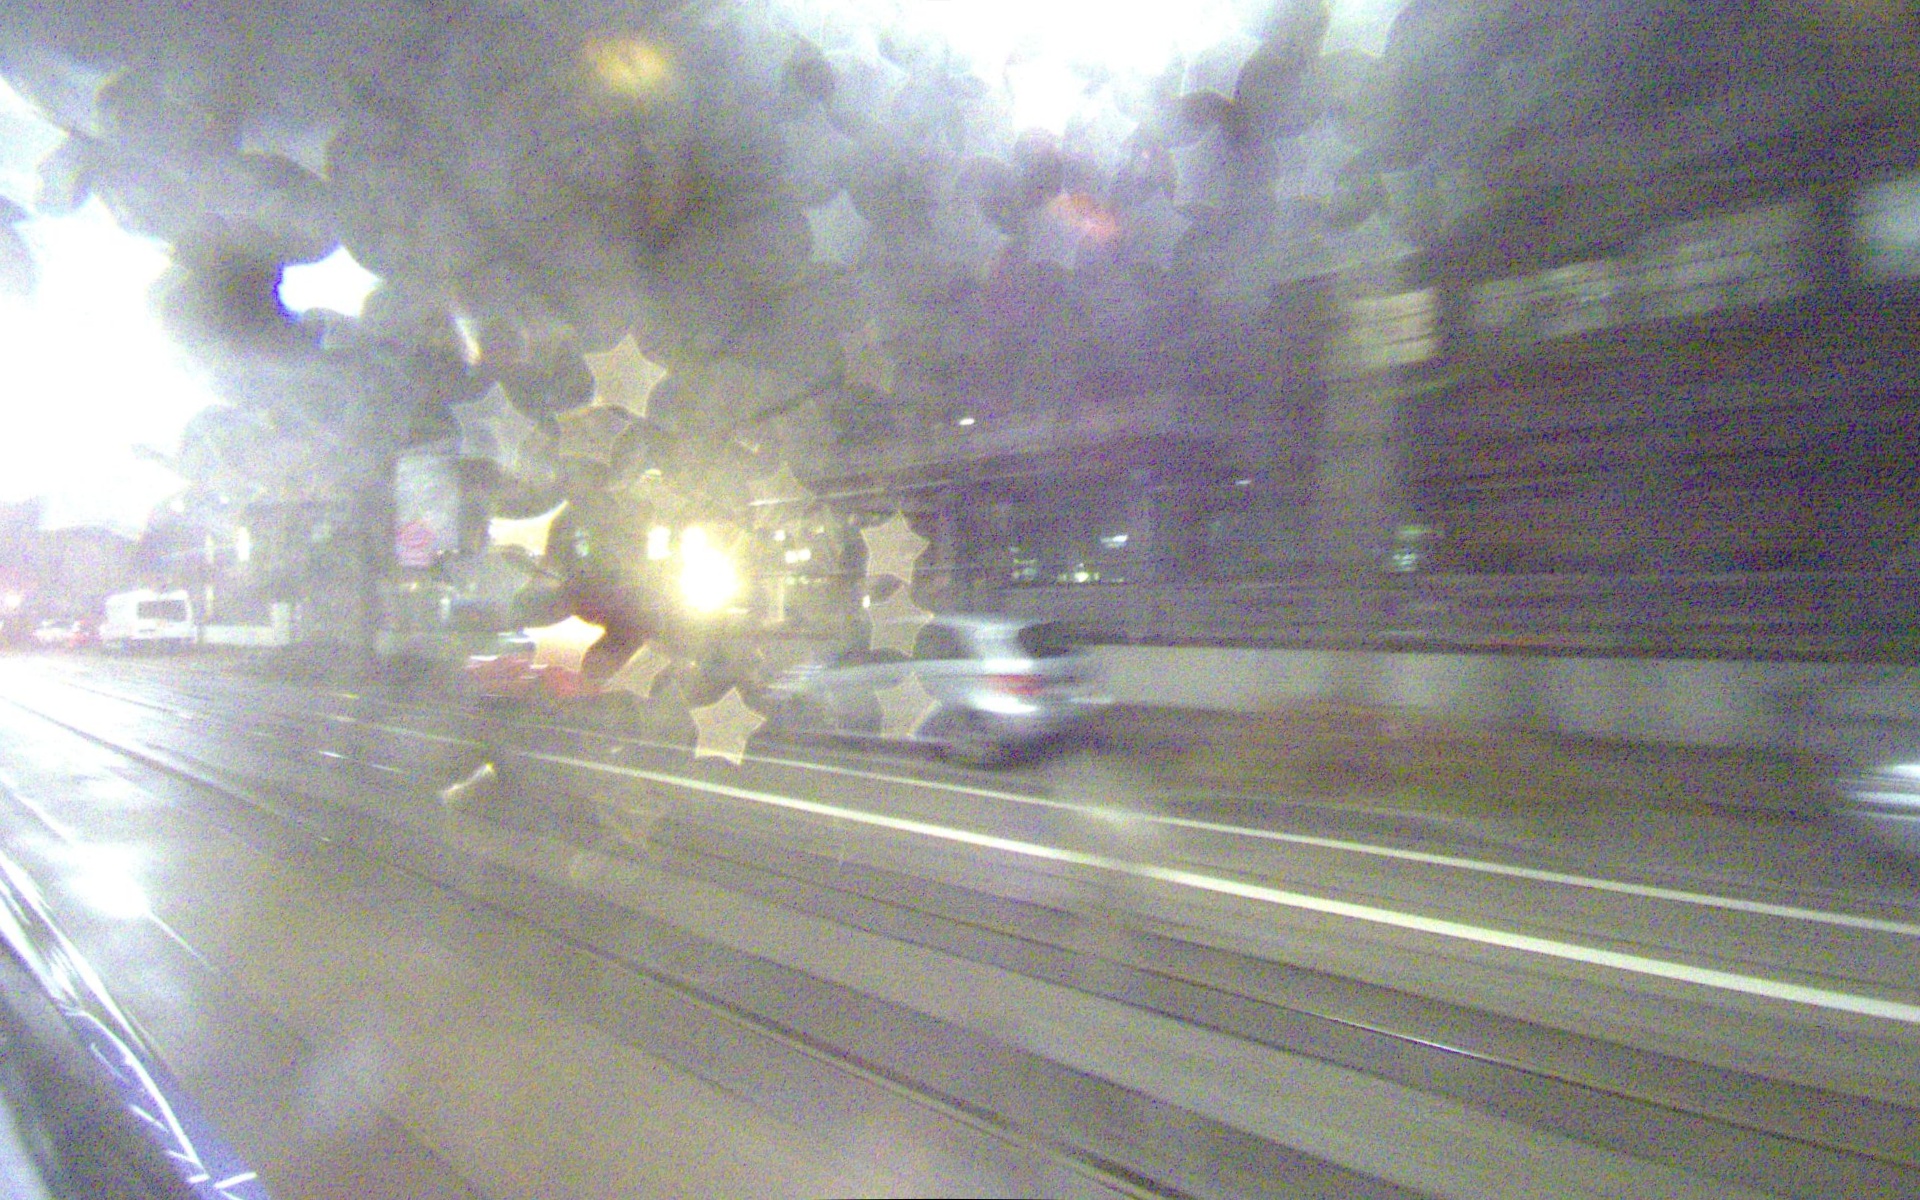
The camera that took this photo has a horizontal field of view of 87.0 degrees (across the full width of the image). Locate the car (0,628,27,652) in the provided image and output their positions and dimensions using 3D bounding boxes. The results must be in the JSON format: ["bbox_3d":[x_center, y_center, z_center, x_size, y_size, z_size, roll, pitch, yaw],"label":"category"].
[{"bbox_3d":[-63.710,2.649,67.601,3.916,1.587,1.671,-1,-1,41],"label":"car"}]

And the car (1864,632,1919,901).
[{"bbox_3d":[7.450,0.901,4.801,4.622,1.449,1.713,-1,-1,40],"label":"car"}]

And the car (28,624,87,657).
[{"bbox_3d":[-47.820,2.129,53.593,3.661,1.593,1.823,-1,1,40],"label":"car"}]

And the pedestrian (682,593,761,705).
[{"bbox_3d":[-4.256,0.857,18.054,1.290,1.916,0.784,-1,-1,41],"label":"pedestrian"}]

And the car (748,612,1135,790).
[{"bbox_3d":[-0.358,1.011,11.662,4.351,1.590,1.791,-2,1,42],"label":"car"}]

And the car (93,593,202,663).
[{"bbox_3d":[-32.092,1.074,39.904,5.254,2.527,2.220,-1,1,39],"label":"car"}]

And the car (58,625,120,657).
[{"bbox_3d":[-41.304,1.916,47.977,3.387,1.418,1.698,-1,1,40],"label":"car"}]

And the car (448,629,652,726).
[{"bbox_3d":[-7.239,1.264,17.711,3.948,1.467,1.701,-1,-1,41],"label":"car"}]
